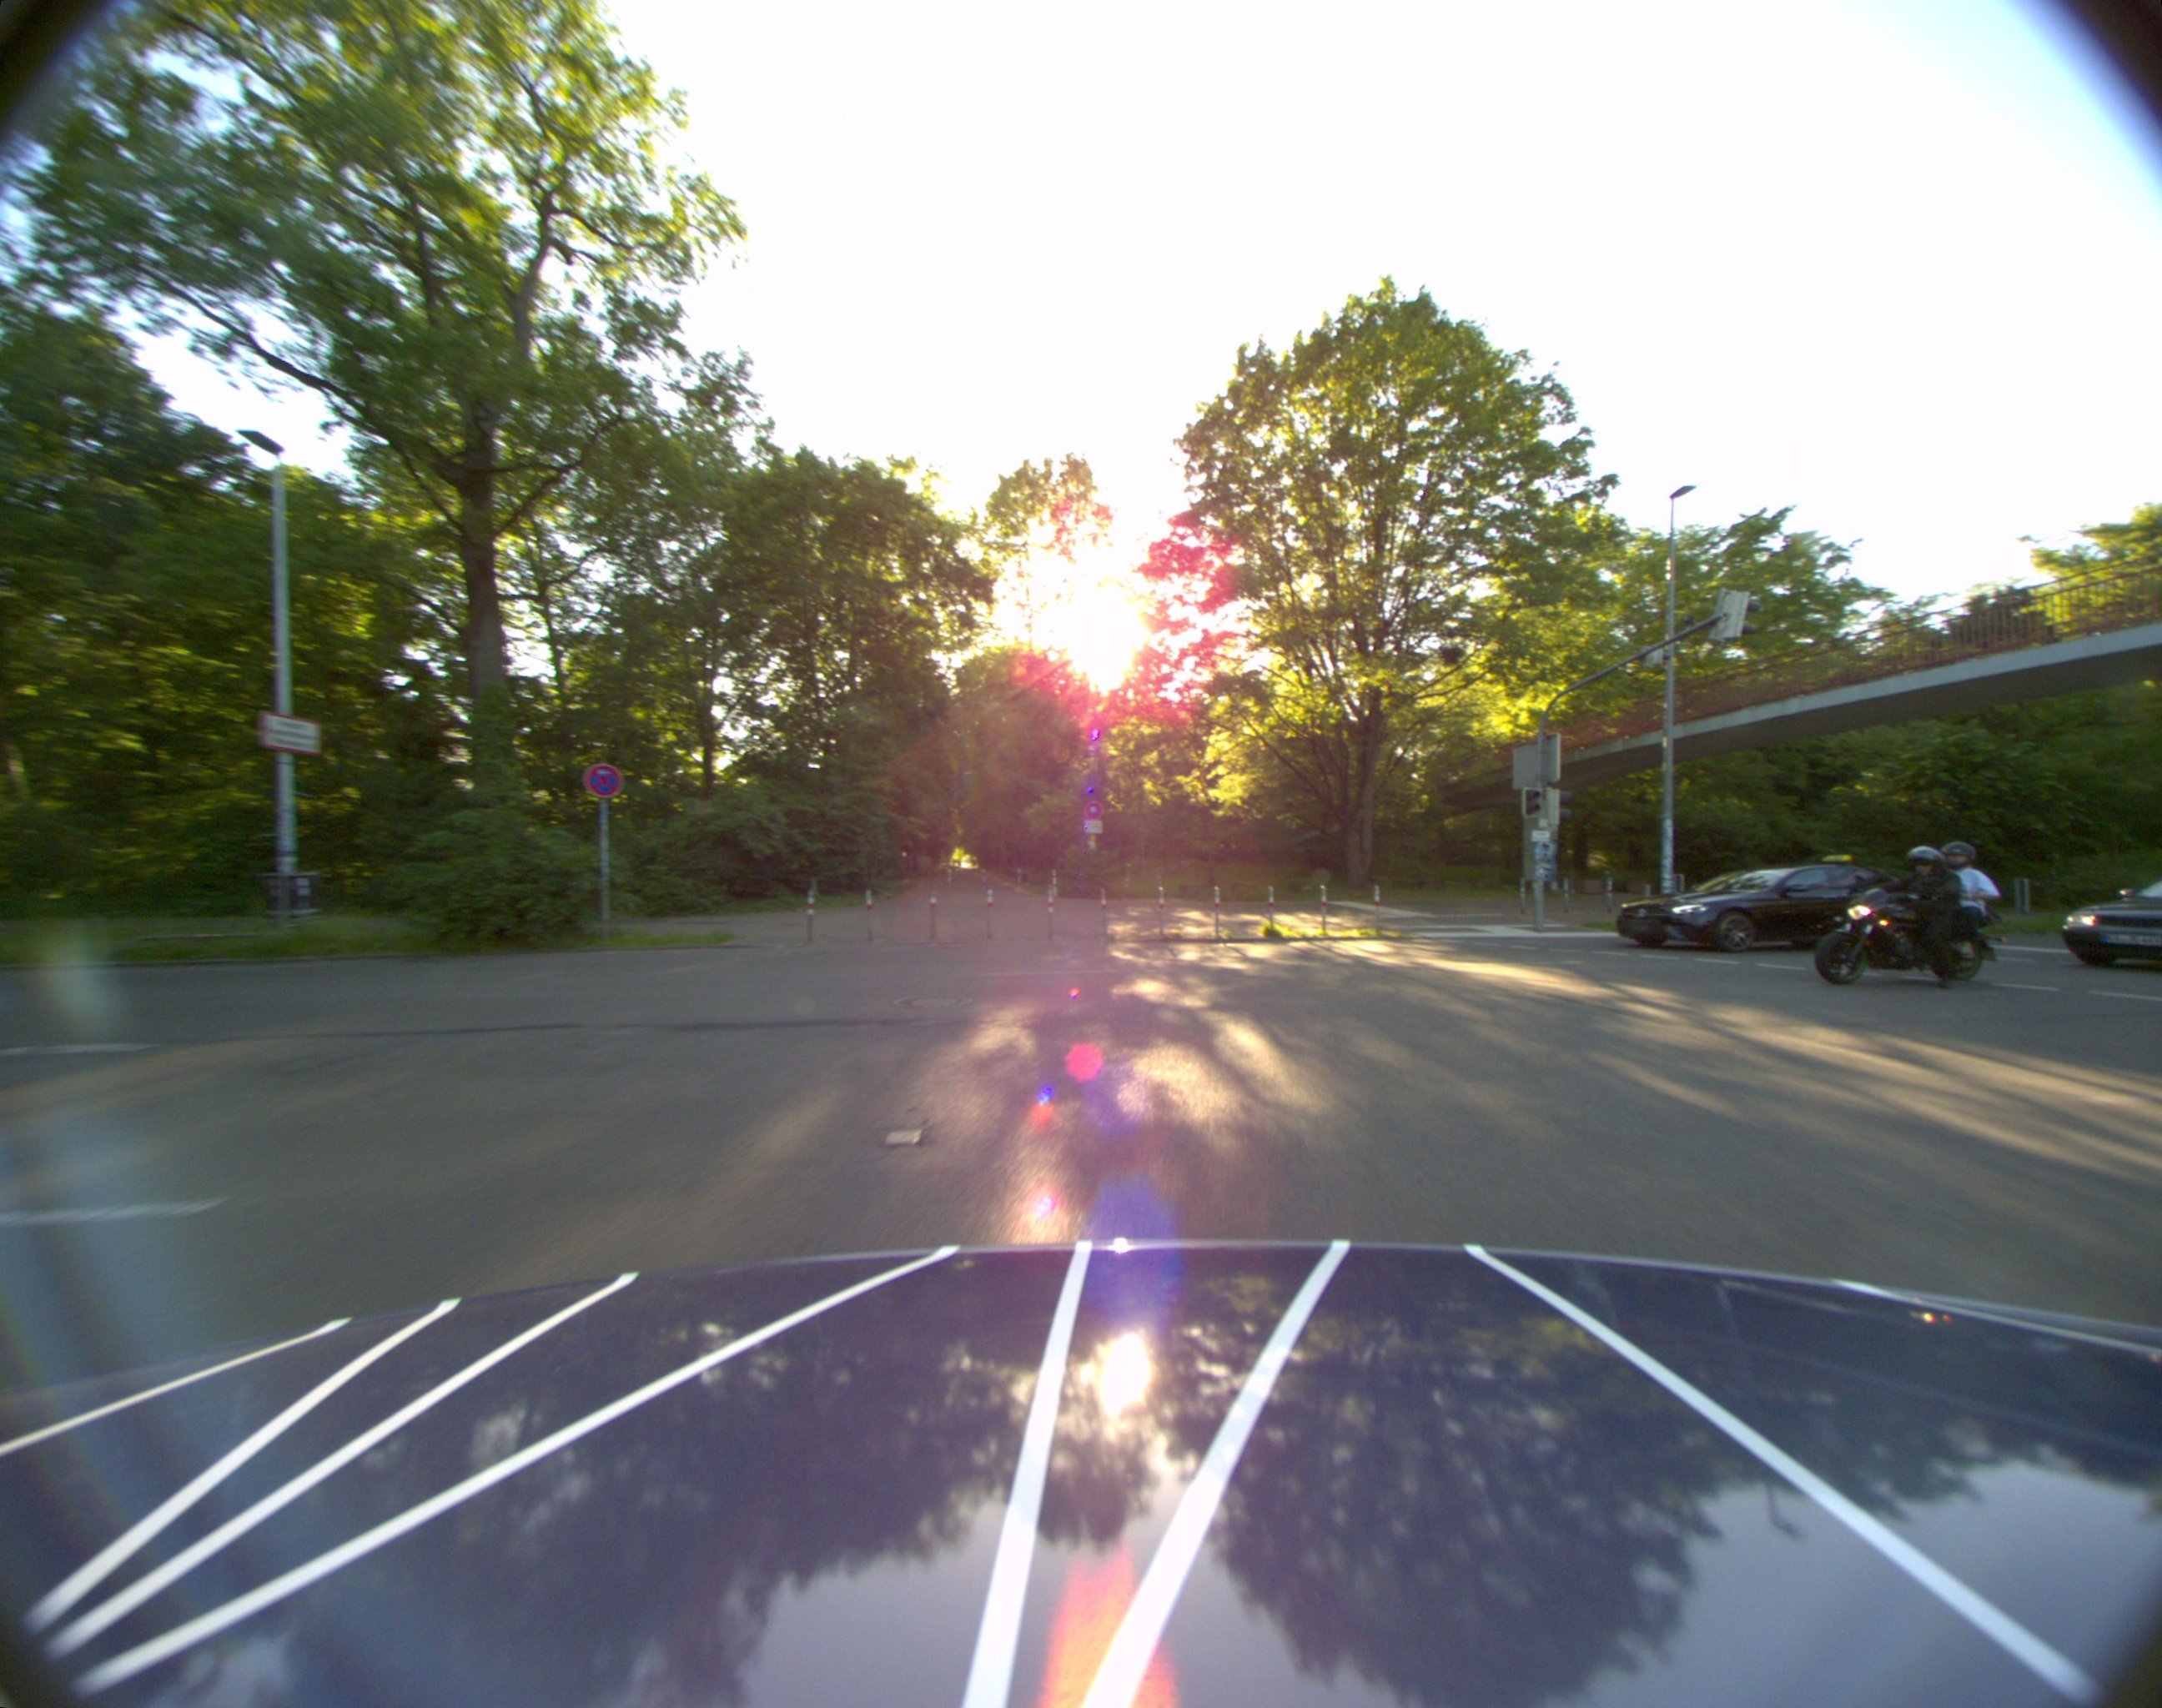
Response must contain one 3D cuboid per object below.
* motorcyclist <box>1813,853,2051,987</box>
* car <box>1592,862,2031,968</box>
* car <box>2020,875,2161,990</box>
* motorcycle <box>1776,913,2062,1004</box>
[{"bbox_3d":[9.863,0.717,8.875,1.566,1.419,1.138,-2,0,-5],"label":"motorcyclist"},{"bbox_3d":[12.344,0.972,13.095,5.884,1.625,1.999,0,0,-4],"label":"car"},{"bbox_3d":[15.219,0.981,9.965,4.000,1.381,1.868,0,-1,-8],"label":"car"},{"bbox_3d":[9.763,1.192,8.893,2.712,0.907,0.807,0,0,-6],"label":"motorcycle"}]
